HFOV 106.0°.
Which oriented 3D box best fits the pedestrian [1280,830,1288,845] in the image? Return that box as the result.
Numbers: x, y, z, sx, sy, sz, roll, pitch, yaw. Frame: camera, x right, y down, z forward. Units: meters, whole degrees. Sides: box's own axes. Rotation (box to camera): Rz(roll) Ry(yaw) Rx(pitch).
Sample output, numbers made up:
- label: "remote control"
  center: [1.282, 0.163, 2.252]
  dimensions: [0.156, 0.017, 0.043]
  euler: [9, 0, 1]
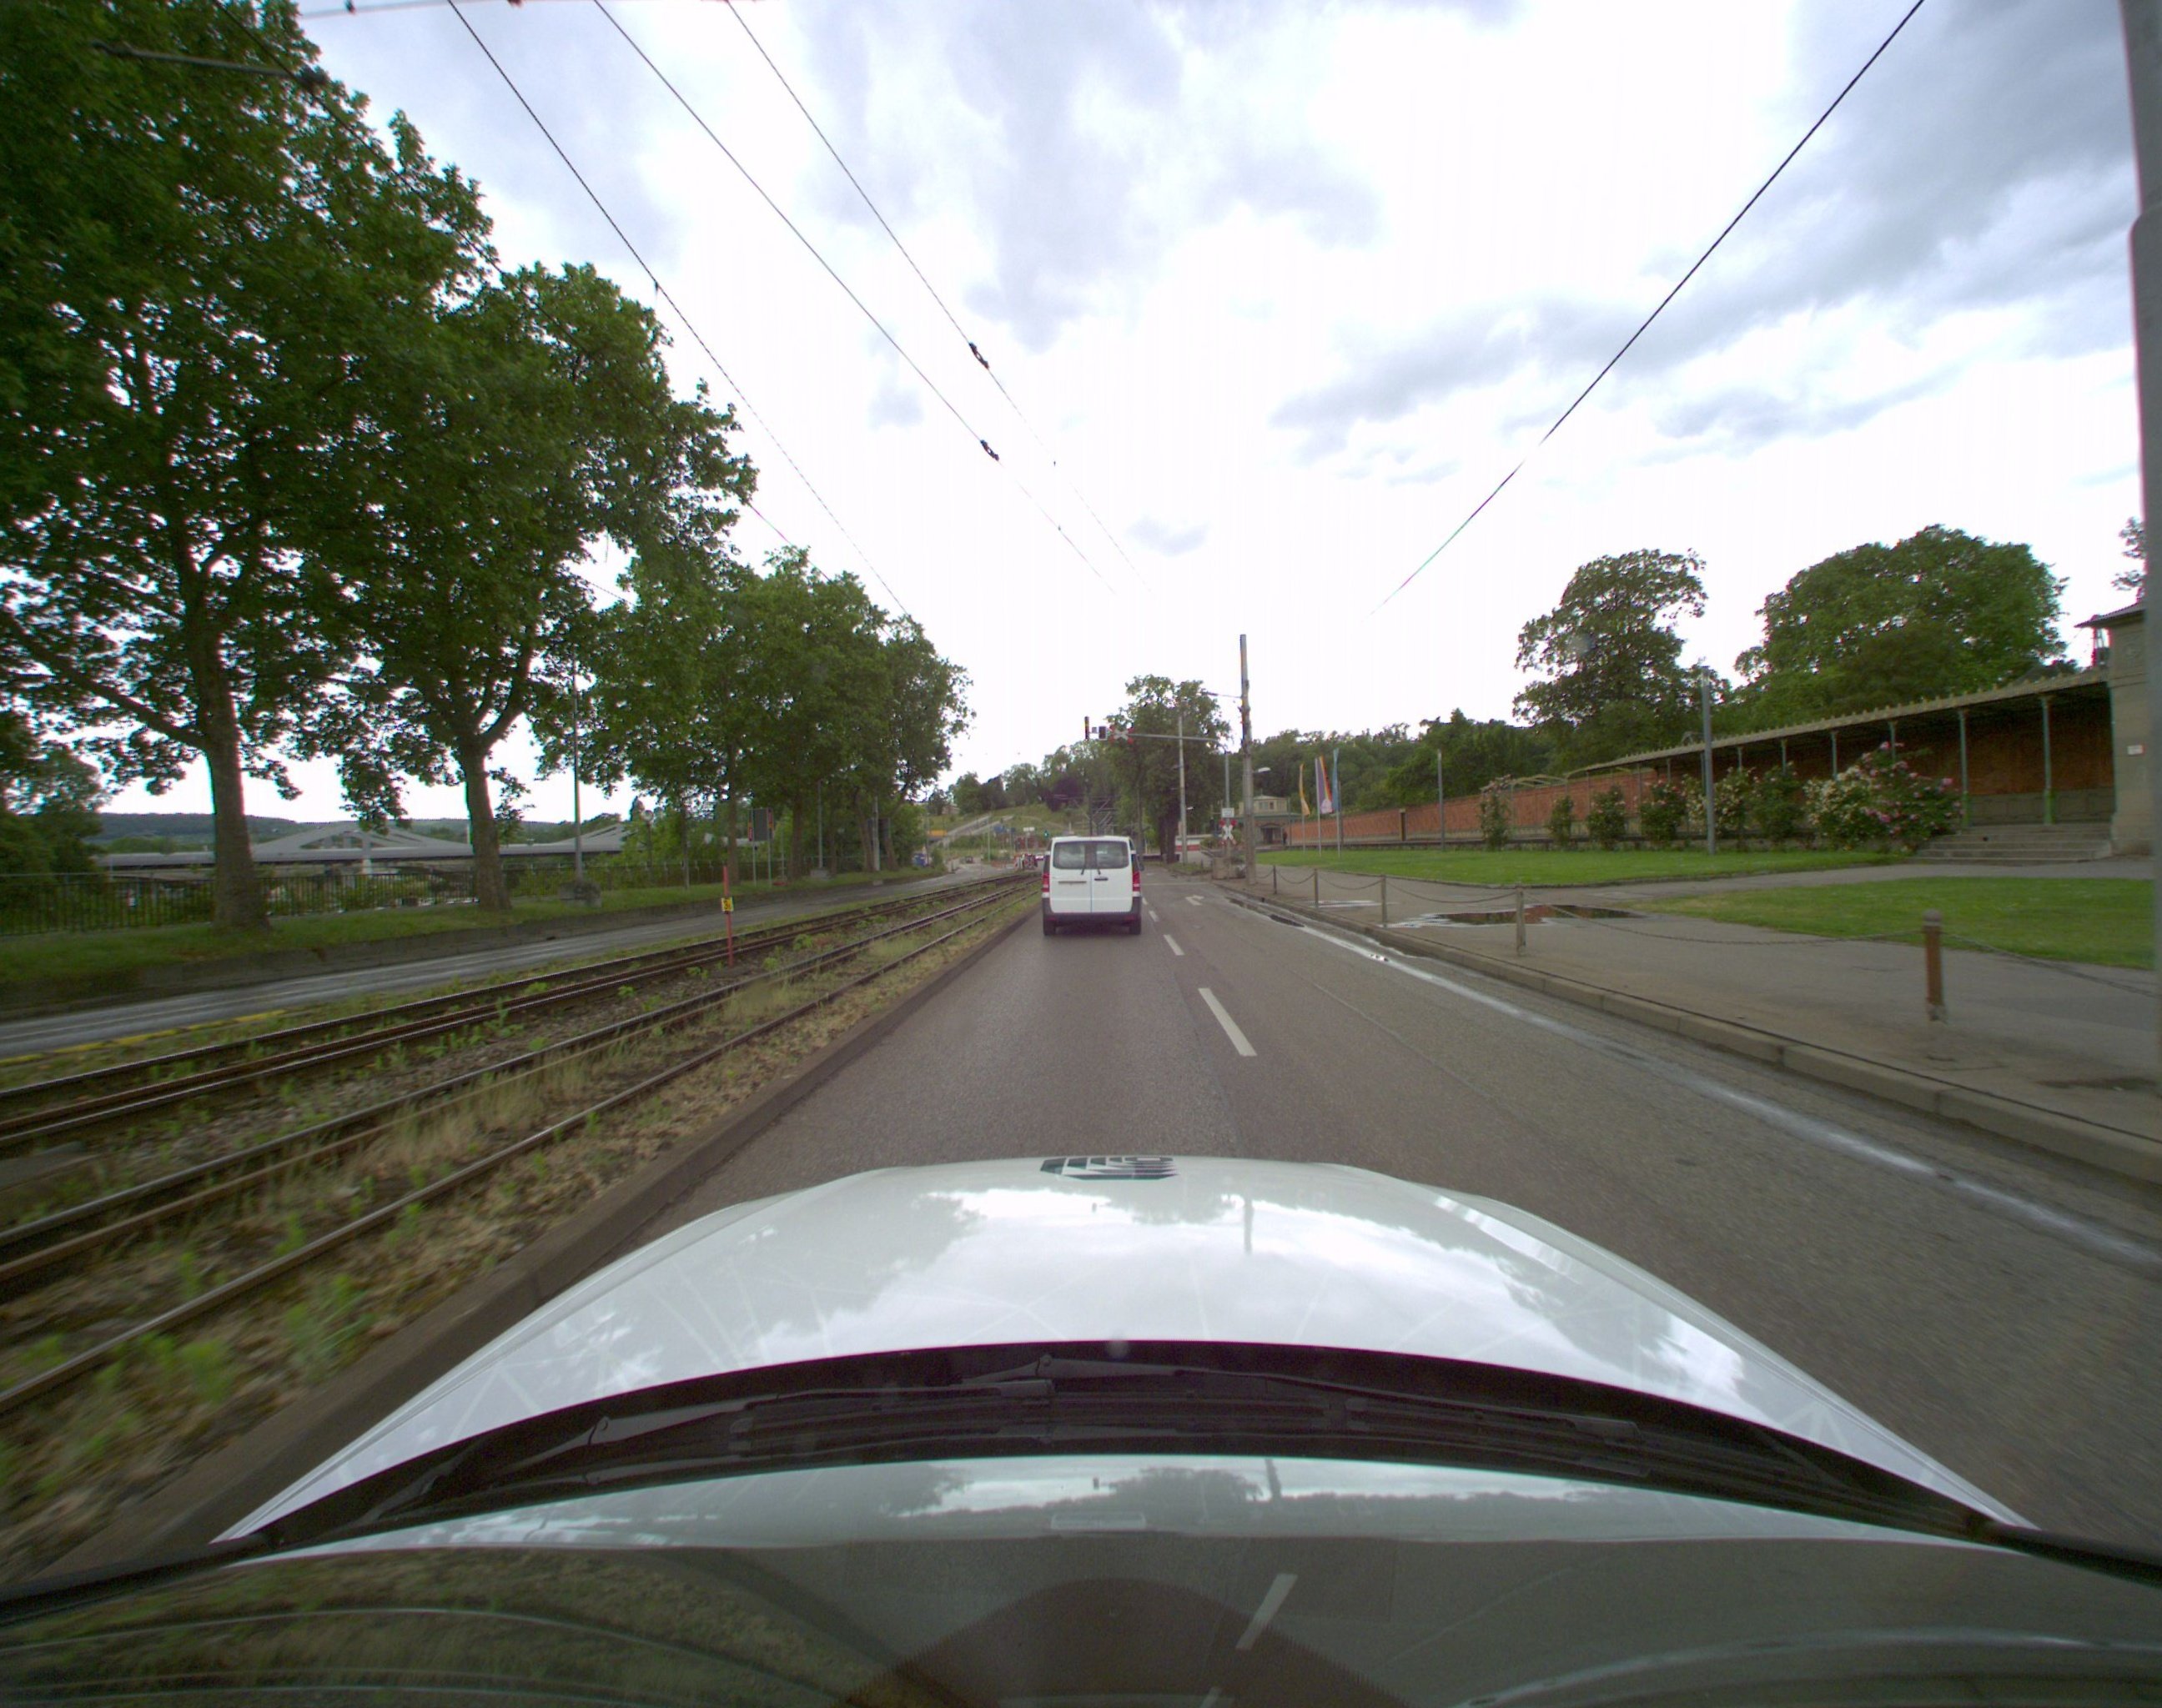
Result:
- label: "pedestrian"
  center: [25.155, -2.045, 100.996]
  dimensions: [0.942, 1.838, 0.552]
  euler: [-1, -1, 14]

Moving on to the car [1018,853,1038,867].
- label: "car"
  center: [-6.059, 0.708, 92.214]
  dimensions: [1.838, 1.467, 4.048]
  euler: [-1, 0, -10]

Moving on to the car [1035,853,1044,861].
- label: "car"
  center: [-10.120, 0.790, 198.364]
  dimensions: [1.929, 2.014, 3.997]
  euler: [0, -1, -2]

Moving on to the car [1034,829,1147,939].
- label: "car"
  center: [0.239, 0.535, 16.515]
  dimensions: [1.952, 1.904, 4.463]
  euler: [-1, 0, 2]

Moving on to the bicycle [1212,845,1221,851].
- label: "bicycle"
  center: [22.877, -1.016, 137.447]
  dimensions: [0.565, 1.061, 1.700]
  euler: [0, -1, -28]

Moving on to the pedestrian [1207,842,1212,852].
- label: "pedestrian"
  center: [15.595, -0.826, 98.779]
  dimensions: [0.547, 1.201, 0.668]
  euler: [0, -1, -4]

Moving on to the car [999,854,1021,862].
- label: "car"
  center: [-17.154, 1.003, 196.348]
  dimensions: [4.677, 1.477, 2.007]
  euler: [-3, 1, 12]

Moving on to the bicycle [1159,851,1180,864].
- label: "bicycle"
  center: [8.636, 0.344, 79.492]
  dimensions: [1.981, 1.158, 0.742]
  euler: [-3, -1, 7]
